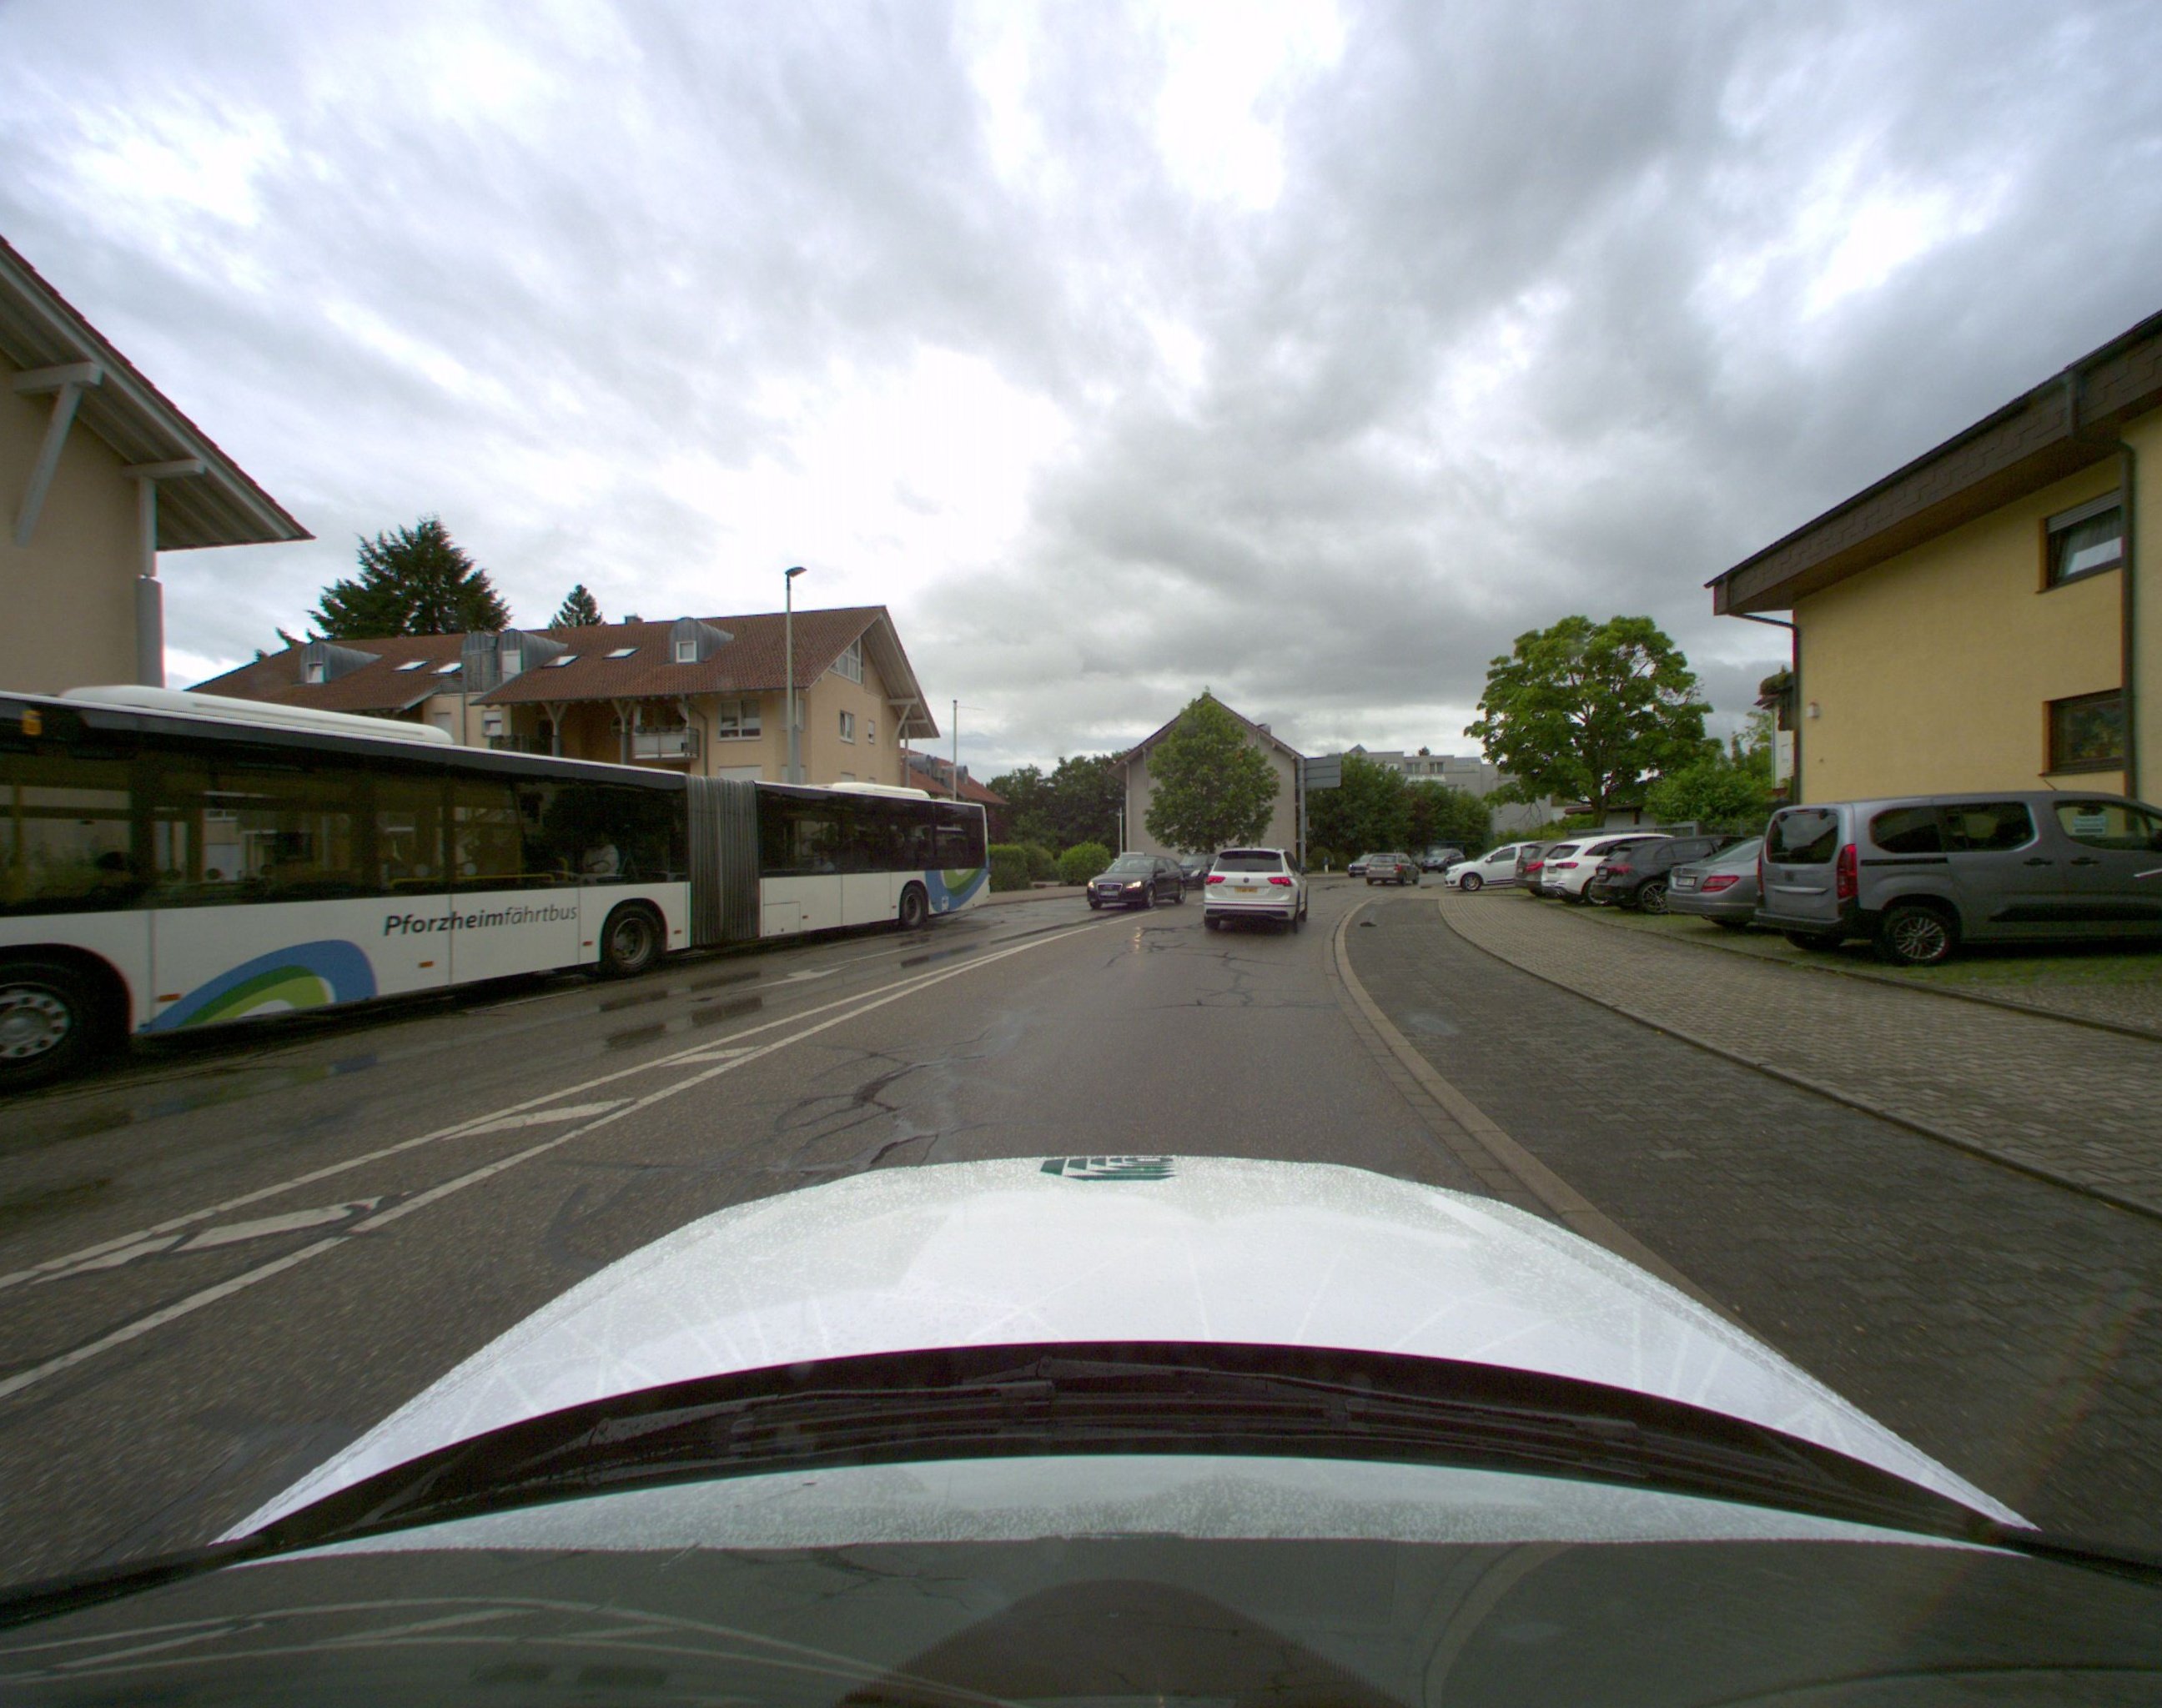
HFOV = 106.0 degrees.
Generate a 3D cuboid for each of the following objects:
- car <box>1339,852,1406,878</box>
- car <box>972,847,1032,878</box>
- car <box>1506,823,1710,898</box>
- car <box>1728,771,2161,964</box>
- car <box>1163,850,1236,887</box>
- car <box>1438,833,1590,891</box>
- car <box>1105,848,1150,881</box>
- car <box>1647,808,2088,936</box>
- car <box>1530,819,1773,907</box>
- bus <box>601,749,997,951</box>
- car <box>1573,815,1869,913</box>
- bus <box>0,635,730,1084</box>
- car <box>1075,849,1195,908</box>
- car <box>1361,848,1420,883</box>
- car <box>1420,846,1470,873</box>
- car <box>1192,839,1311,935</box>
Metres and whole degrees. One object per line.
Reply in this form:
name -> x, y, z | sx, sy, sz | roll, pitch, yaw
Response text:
car -> 17.520, 0.632, 48.856 | 4.514, 1.390, 1.885 | -2, 2, -43
car -> -4.336, 0.516, 45.437 | 1.979, 1.651, 4.016 | 1, -2, 15
car -> 13.680, 0.180, 21.412 | 4.015, 1.597, 1.912 | -5, -1, 13
car -> 10.313, 0.119, 9.162 | 4.265, 1.781, 1.911 | -5, -1, 12
car -> 5.091, 0.601, 34.542 | 1.572, 1.422, 3.719 | -2, 0, 34
car -> 14.680, 0.282, 27.894 | 4.303, 1.597, 1.775 | -5, -1, 20
car -> 2.570, 0.605, 44.477 | 1.981, 1.651, 4.010 | 1, -2, 10
car -> 11.136, 0.284, 11.892 | 4.331, 1.423, 1.701 | -5, -1, 11
car -> 12.790, 0.217, 18.535 | 4.017, 1.597, 1.902 | -5, -1, 12
bus -> -4.853, -0.073, 16.447 | 2.563, 3.000, 8.451 | -2, 0, 22
car -> 12.137, 0.214, 15.793 | 4.013, 1.490, 1.913 | -5, -1, 16
bus -> -7.784, 0.049, 7.910 | 2.527, 3.000, 9.245 | -2, 0, 17
car -> 1.654, 0.621, 23.144 | 1.842, 1.518, 4.318 | 0, 0, 27
car -> 14.252, 0.568, 37.382 | 1.748, 1.510, 4.025 | 0, -2, 33
car -> 25.754, 0.358, 57.621 | 1.884, 1.656, 4.292 | 1, 3, 44
car -> 3.722, 0.567, 17.146 | 1.905, 1.722, 4.285 | 1, 1, 19
